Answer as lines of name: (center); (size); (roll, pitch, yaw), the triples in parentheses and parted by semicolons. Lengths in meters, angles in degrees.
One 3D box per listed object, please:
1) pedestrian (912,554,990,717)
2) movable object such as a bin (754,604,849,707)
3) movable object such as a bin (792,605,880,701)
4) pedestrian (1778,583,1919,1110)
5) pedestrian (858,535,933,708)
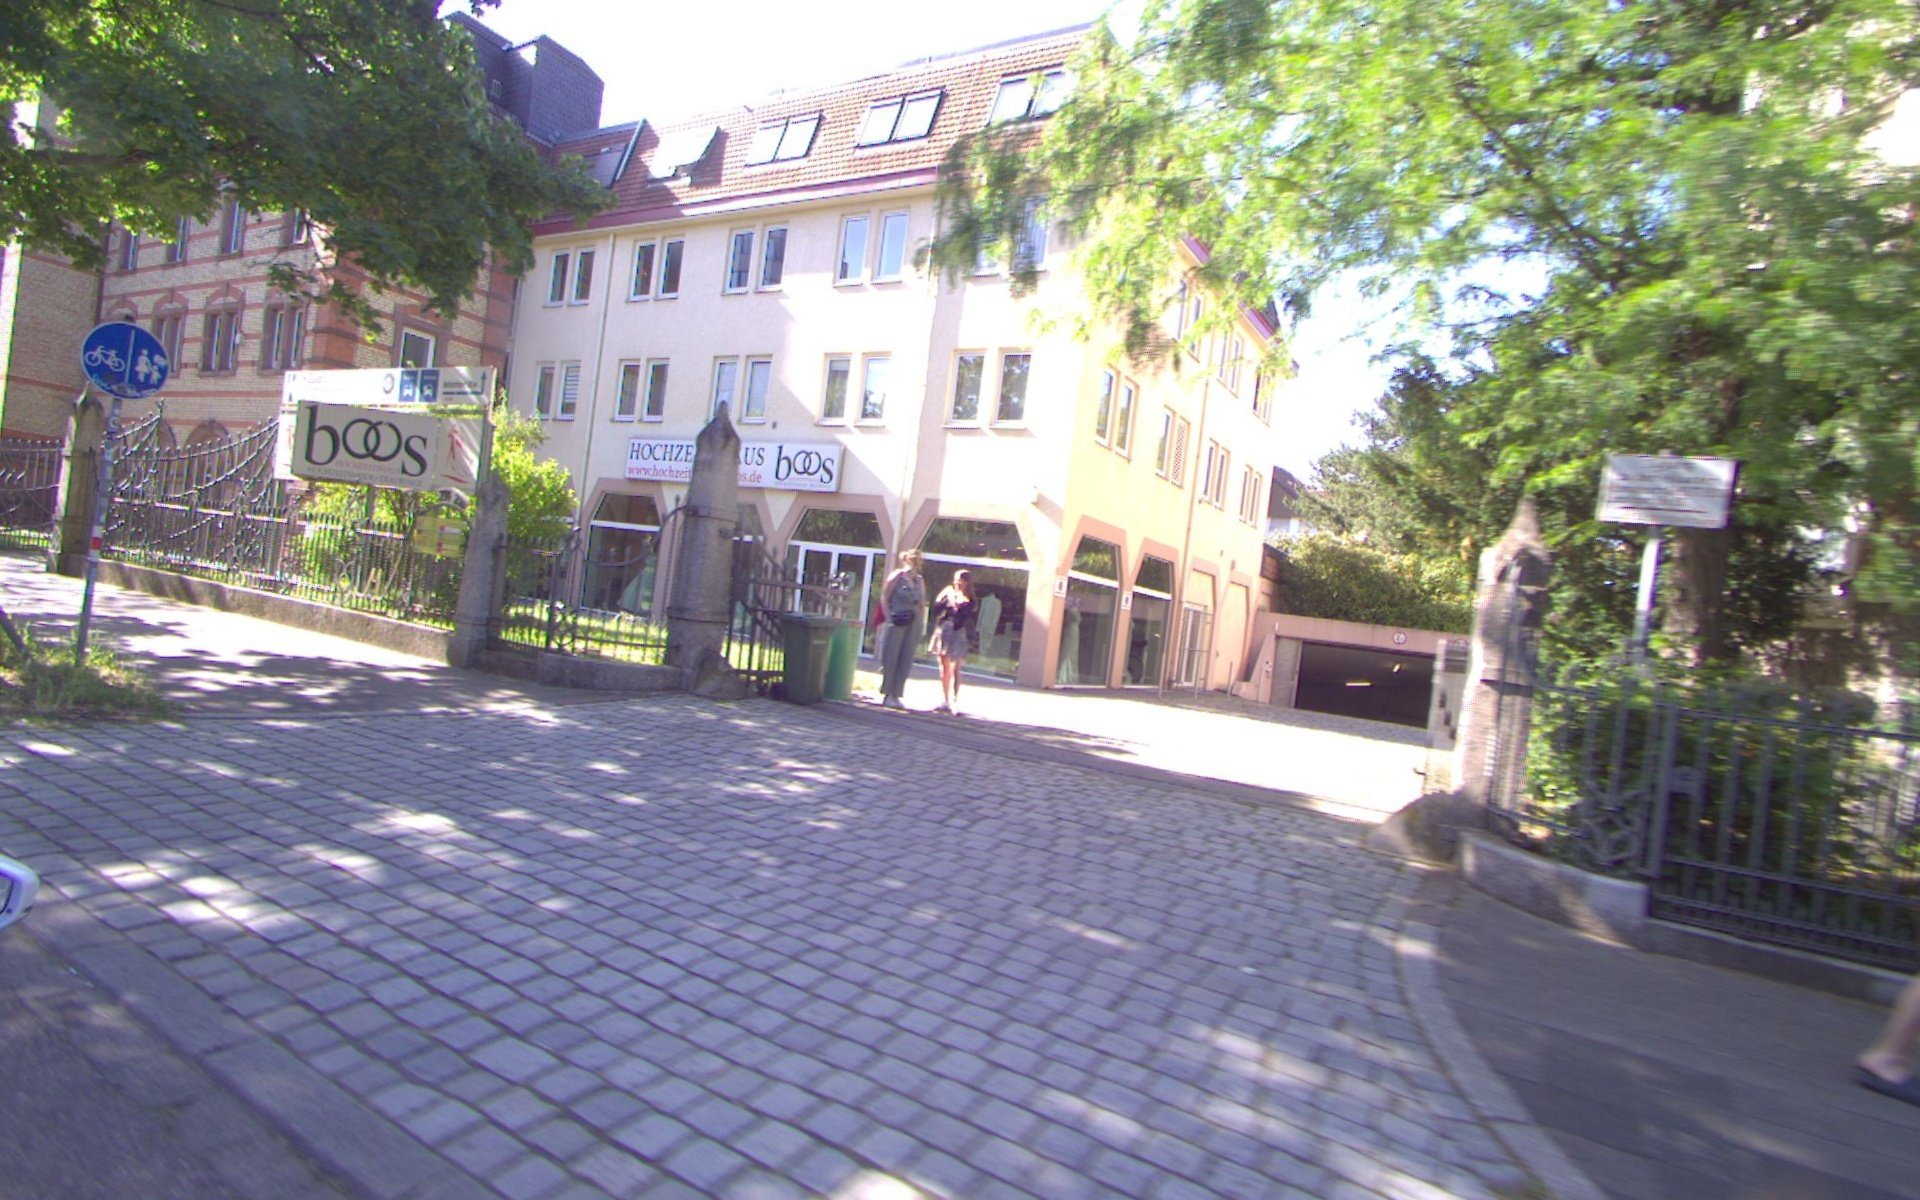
pedestrian: (-0.093, 0.392, 11.207); (0.506, 1.731, 0.539); (7, 2, 23)
movable object such as a bin: (-1.667, 0.579, 10.611); (0.656, 0.978, 0.625); (7, 3, 31)
movable object such as a bin: (-1.389, 0.585, 11.281); (0.656, 0.978, 0.625); (7, 3, 31)
pedestrian: (3.722, 0.895, 3.652); (0.742, 1.811, 0.803); (4, 3, -34)
pedestrian: (-0.712, 0.229, 11.001); (0.534, 1.801, 0.531); (6, 1, -16)
